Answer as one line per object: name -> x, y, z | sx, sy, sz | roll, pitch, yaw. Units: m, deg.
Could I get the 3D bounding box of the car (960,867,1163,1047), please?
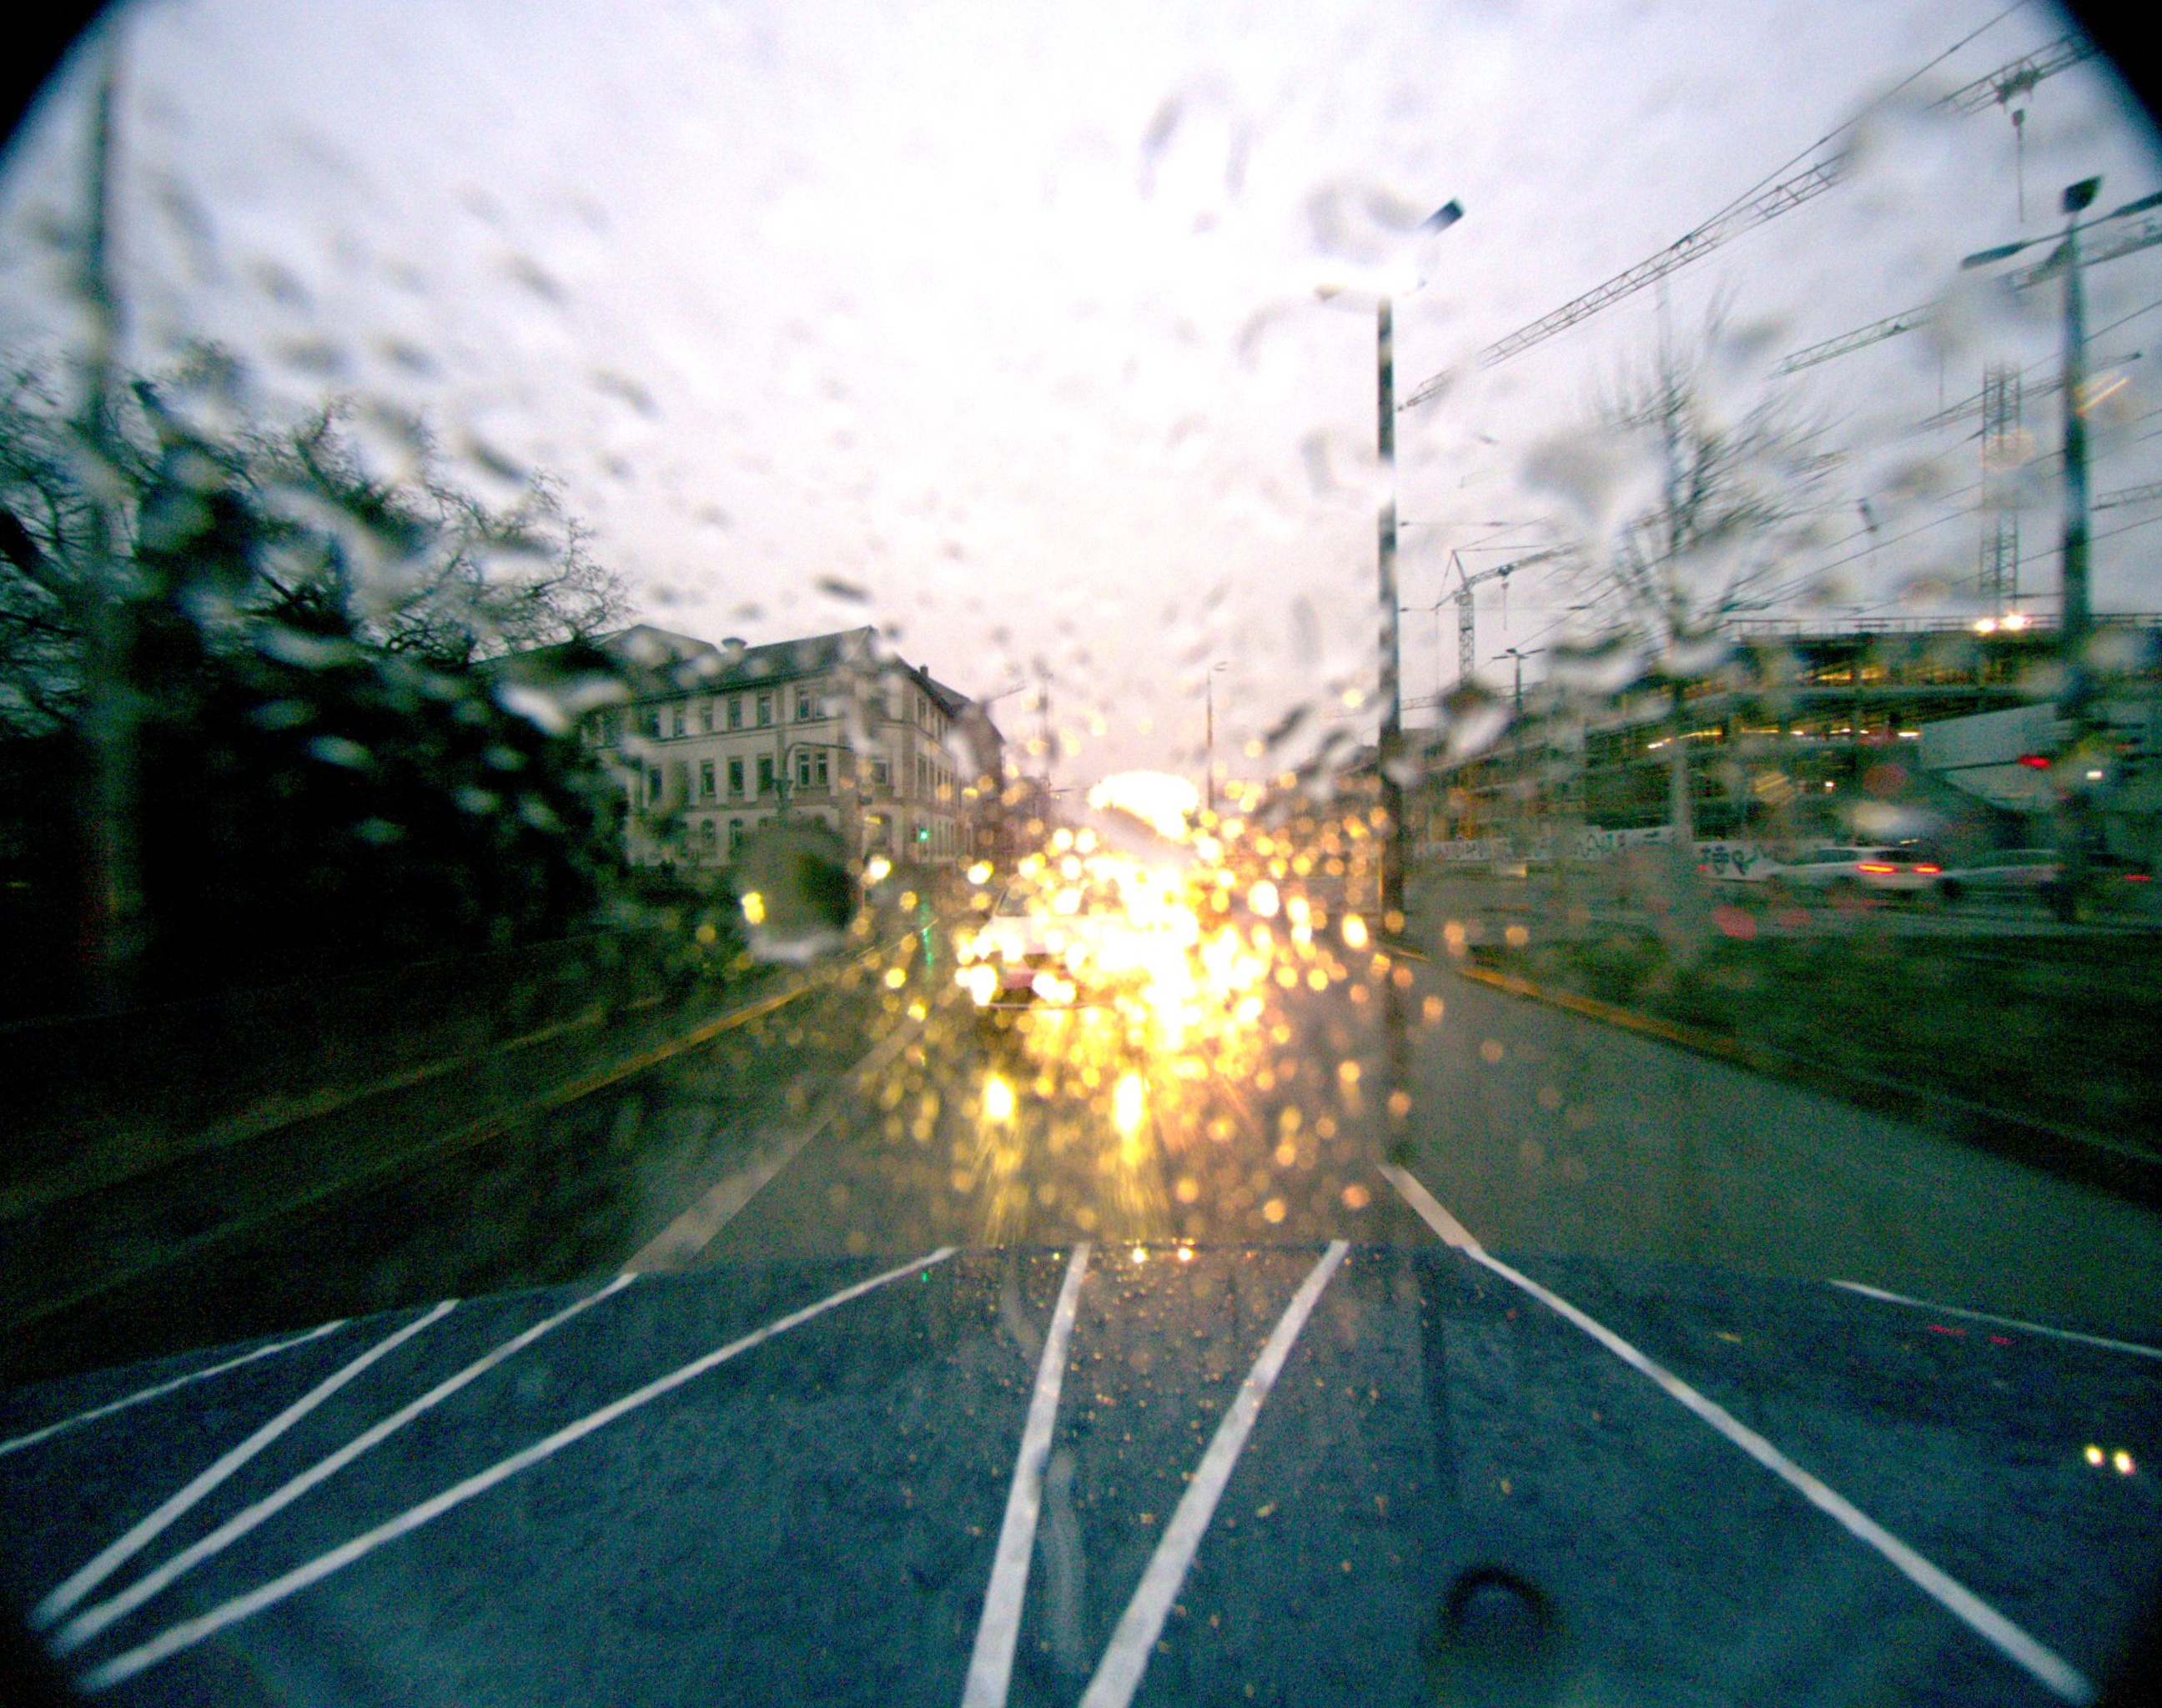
car -> -0.215, 0.956, 8.785 | 1.764, 1.443, 3.999 | -2, 1, -1

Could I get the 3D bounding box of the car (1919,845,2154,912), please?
car -> 28.291, 0.648, 22.750 | 1.886, 1.779, 4.176 | -2, 1, 3

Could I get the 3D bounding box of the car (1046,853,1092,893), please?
car -> -0.520, 0.740, 31.730 | 1.764, 1.443, 3.999 | -2, 1, -1

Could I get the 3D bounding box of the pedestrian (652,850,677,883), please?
pedestrian -> -25.825, 0.761, 47.130 | 0.976, 1.969, 0.869 | -2, 1, 23

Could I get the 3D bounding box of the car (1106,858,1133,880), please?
car -> 2.901, 1.105, 58.072 | 1.844, 1.547, 3.999 | -2, 1, 0

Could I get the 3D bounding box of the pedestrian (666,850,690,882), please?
pedestrian -> -25.462, 0.726, 47.987 | 0.976, 1.969, 0.869 | -2, 1, 23

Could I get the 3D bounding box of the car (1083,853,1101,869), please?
car -> 1.141, 0.765, 81.500 | 1.844, 1.547, 3.999 | -2, 1, 0

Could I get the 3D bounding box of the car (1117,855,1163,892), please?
car -> 2.882, 0.902, 37.801 | 1.844, 1.644, 4.323 | -2, 1, -1

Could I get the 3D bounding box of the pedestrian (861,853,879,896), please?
pedestrian -> -9.404, 0.916, 33.914 | 0.675, 1.868, 0.714 | -2, 1, -14

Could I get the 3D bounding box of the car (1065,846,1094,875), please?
car -> -0.123, 0.423, 51.951 | 1.858, 1.886, 3.999 | -2, 1, -1

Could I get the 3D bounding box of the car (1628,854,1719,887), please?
car -> 30.668, 0.812, 39.475 | 1.885, 1.565, 4.002 | -2, 1, 7

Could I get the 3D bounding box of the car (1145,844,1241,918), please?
car -> 2.871, 0.639, 20.289 | 1.858, 1.723, 3.999 | -2, 1, -1

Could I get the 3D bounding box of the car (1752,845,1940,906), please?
car -> 25.027, 0.626, 25.135 | 1.885, 1.779, 4.600 | -2, 1, 6

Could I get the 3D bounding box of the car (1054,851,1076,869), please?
car -> -1.402, 0.509, 68.265 | 1.844, 1.547, 3.999 | -2, 1, 0
